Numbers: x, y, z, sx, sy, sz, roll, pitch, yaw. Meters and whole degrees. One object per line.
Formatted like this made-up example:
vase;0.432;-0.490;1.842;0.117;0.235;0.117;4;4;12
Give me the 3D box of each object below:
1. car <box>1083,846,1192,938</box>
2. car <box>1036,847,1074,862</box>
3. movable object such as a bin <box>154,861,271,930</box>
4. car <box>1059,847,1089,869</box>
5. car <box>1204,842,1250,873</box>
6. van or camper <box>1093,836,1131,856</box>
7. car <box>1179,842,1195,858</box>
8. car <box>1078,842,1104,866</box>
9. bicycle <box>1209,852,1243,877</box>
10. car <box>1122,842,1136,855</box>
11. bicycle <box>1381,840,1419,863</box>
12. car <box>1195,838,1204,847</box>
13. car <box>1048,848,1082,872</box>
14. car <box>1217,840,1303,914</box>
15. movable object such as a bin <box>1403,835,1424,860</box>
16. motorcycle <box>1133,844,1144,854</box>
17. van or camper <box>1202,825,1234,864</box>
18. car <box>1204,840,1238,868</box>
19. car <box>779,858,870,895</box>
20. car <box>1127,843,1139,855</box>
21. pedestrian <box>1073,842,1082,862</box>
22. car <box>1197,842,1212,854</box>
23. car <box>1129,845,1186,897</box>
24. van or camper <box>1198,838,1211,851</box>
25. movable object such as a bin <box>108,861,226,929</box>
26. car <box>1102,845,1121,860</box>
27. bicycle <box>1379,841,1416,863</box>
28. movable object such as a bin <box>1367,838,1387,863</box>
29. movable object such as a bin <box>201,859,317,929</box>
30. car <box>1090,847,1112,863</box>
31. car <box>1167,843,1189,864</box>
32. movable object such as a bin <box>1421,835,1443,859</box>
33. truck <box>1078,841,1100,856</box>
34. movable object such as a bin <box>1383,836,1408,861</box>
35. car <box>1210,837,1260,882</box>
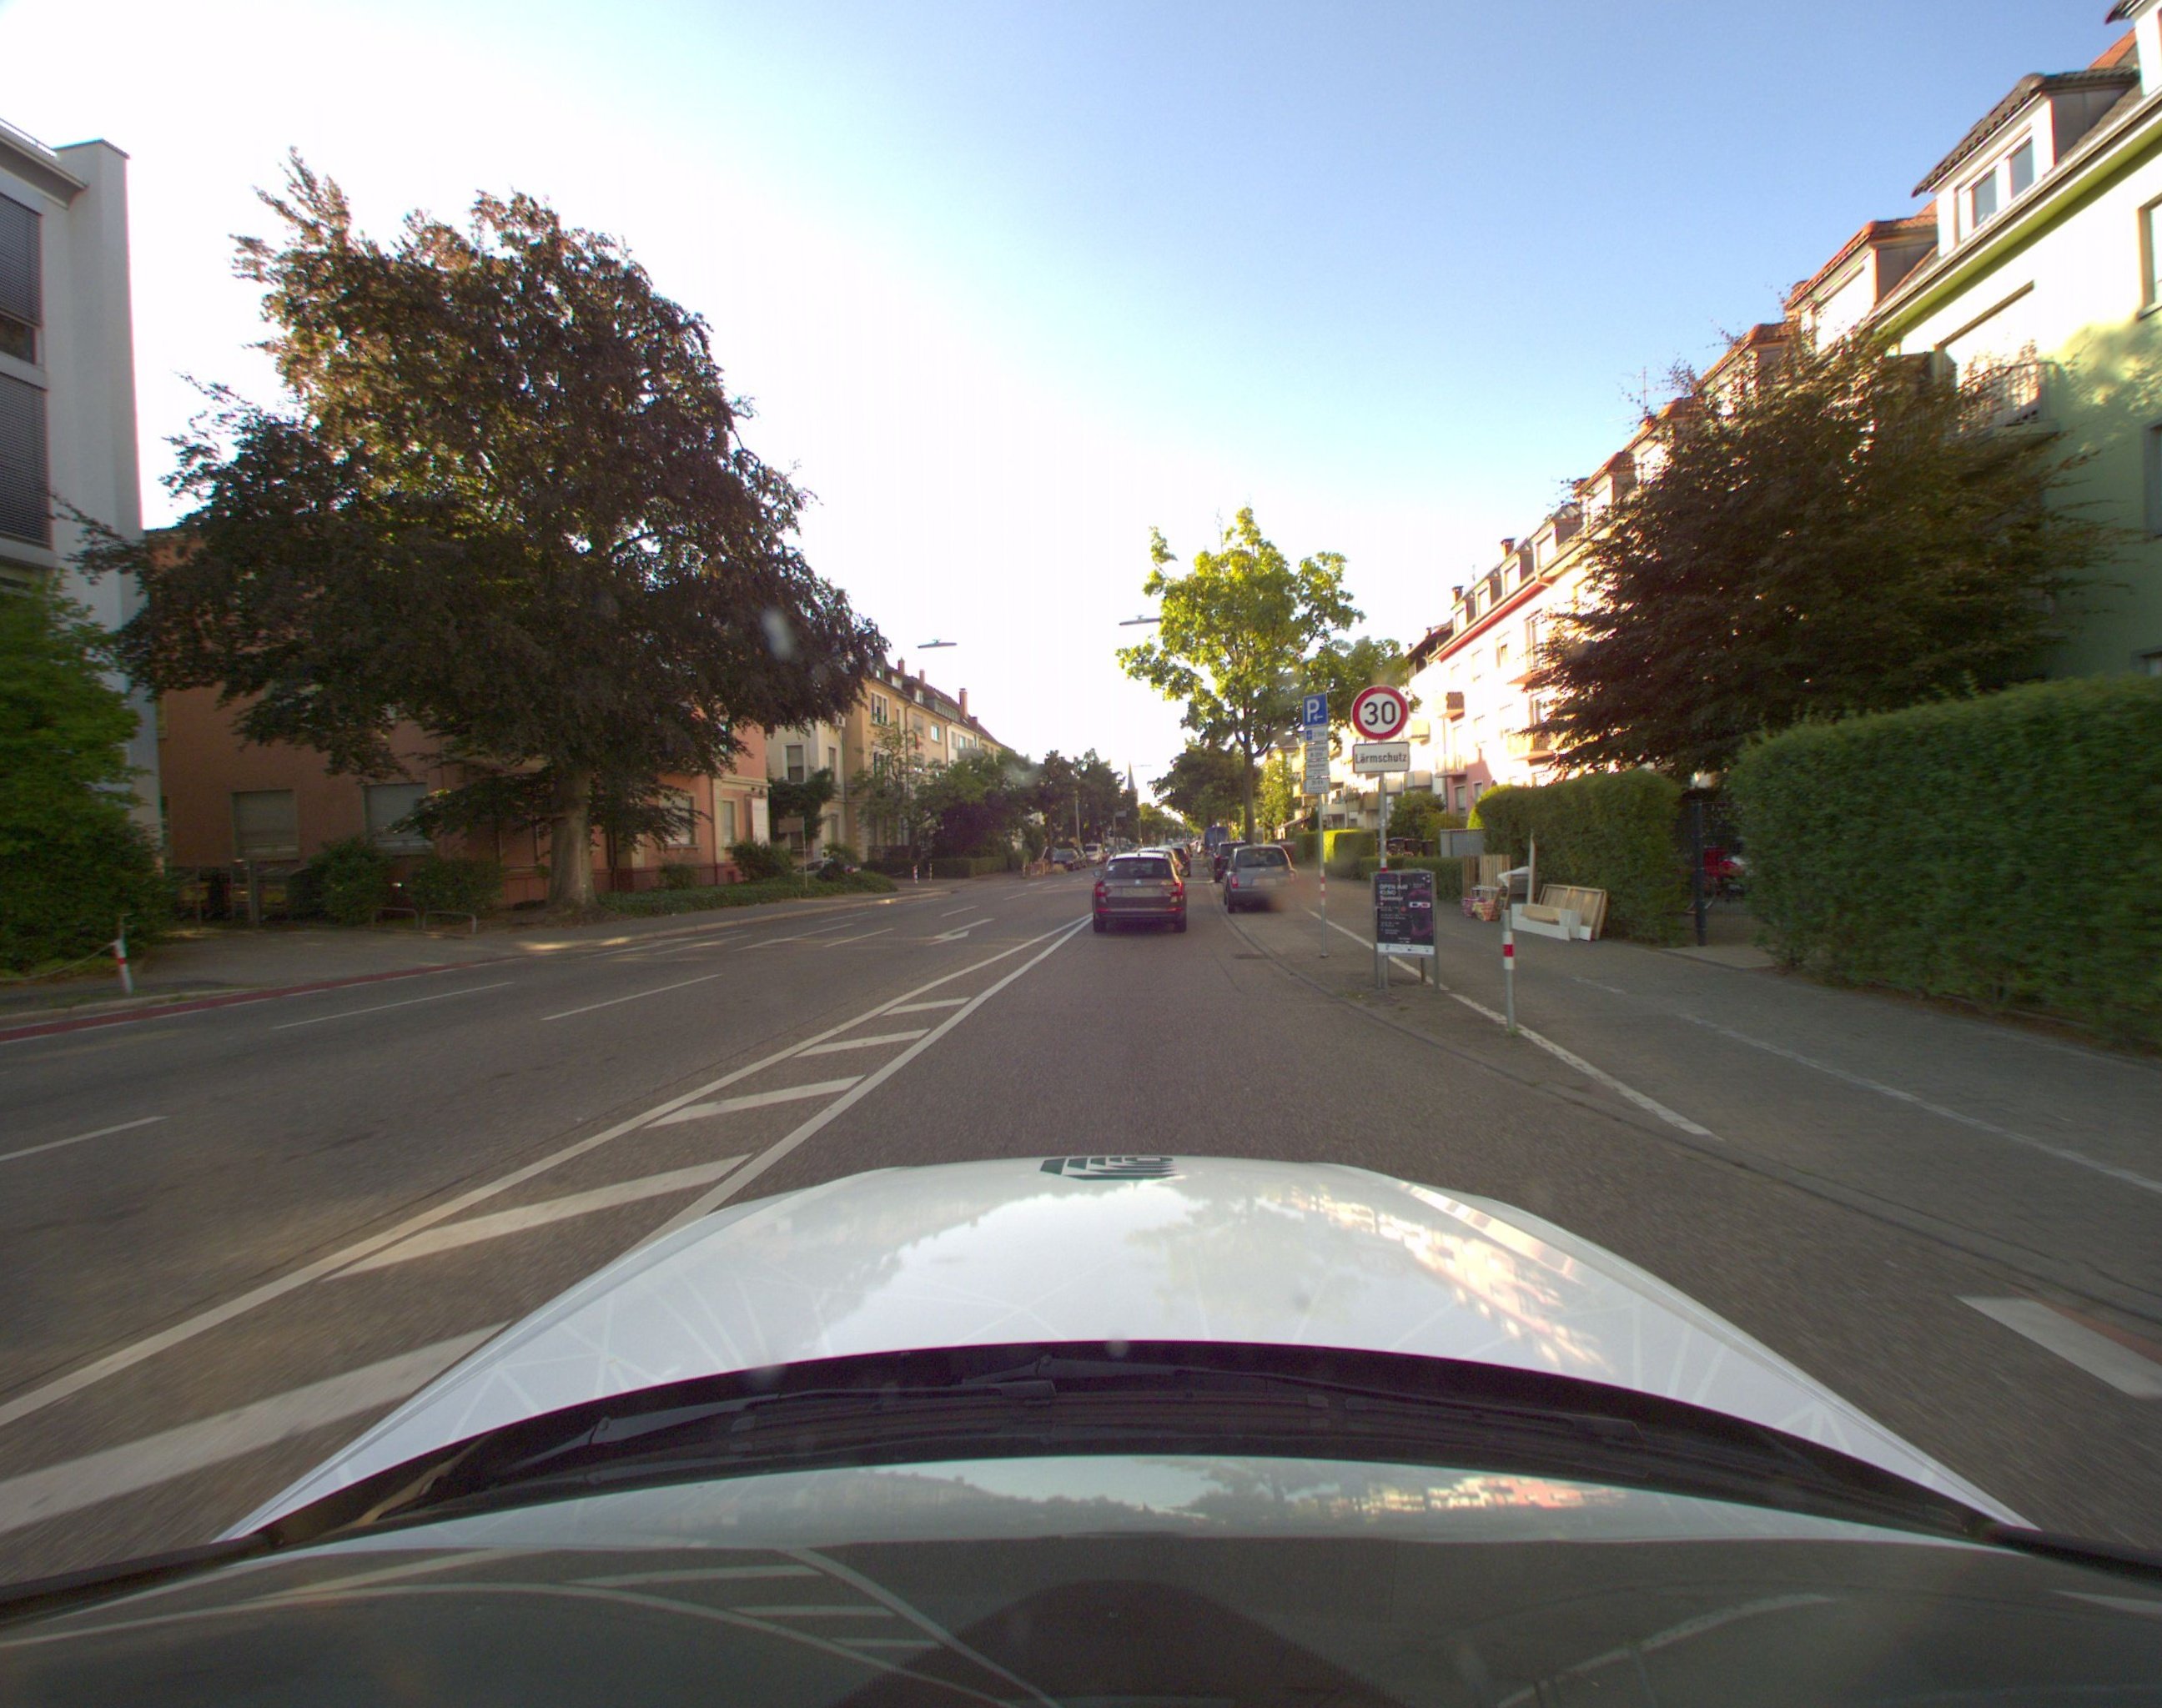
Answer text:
car;1.238;0.643;16.031;1.719;1.493;3.962;-2;1;9
car;-2.808;0.017;90.121;3.969;1.479;2.002;-1;1;4
movable object such as a bin;-22.715;1.069;21.336;1.493;1.651;1.461;-2;1;11
car;-0.502;0.296;62.820;1.740;1.502;3.988;-2;1;8
car;7.771;0.148;43.744;1.911;1.486;4.752;-2;1;4
van or camper;6.473;-1.629;168.569;7.602;3.874;2.003;-2;1;5
car;11.563;-0.420;88.696;1.723;1.651;3.550;-2;1;8
car;0.947;-0.018;73.145;1.760;1.919;4.470;-2;1;8
bicycle;6.690;0.488;37.607;1.474;1.059;0.411;-2;1;-6
car;6.871;-0.849;116.803;1.740;1.740;3.599;-2;1;8
bicycle;12.952;-0.099;33.110;1.362;0.853;0.369;-2;1;8
car;23.968;-2.296;164.897;1.720;1.815;3.958;-2;1;6
car;-1.095;0.412;57.900;1.740;1.502;4.206;-2;1;8
car;4.251;0.472;19.811;1.723;1.551;3.654;-2;1;8
movable object such as a bin;13.955;-0.273;34.220;0.608;1.002;0.798;-2;1;7
motorcycle;9.284;-0.805;131.593;0.770;1.511;2.008;-3;1;-35
van or camper;10.080;-0.702;60.244;2.056;2.675;6.003;-2;0;8
car;8.620;-0.015;50.335;1.764;1.642;3.764;-2;0;6
car;-11.660;0.995;37.146;3.482;1.486;1.818;-2;1;4
car;7.782;-0.776;121.403;1.498;1.757;3.702;-2;1;8
pedestrian;-0.347;-0.175;84.026;0.763;2.013;0.978;-2;1;7
car;16.006;-0.845;105.617;1.810;1.413;4.123;-2;1;10
car;2.503;0.500;27.089;1.722;1.493;3.955;-2;1;4
van or camper;19.590;-1.506;129.301;1.982;2.013;4.009;-2;1;8
movable object such as a bin;-24.302;1.068;21.698;1.493;1.651;1.461;-2;1;11
car;3.481;-0.213;92.311;1.707;1.497;4.257;-2;1;8
bicycle;13.026;-0.070;33.561;1.352;0.853;0.366;-2;1;7
movable object such as a bin;12.459;-0.163;34.316;0.579;1.002;0.798;-2;1;7
movable object such as a bin;-21.178;1.012;21.026;1.493;1.651;1.461;-2;1;11
car;1.985;0.088;80.474;1.707;1.421;3.795;-2;1;8
car;8.495;-0.048;71.206;1.723;1.651;3.550;-2;1;8
movable object such as a bin;14.711;-0.303;34.146;0.608;1.002;0.798;-2;1;7
truck;1.170;-0.798;118.990;2.898;2.093;1.549;-2;1;7
movable object such as a bin;13.237;-0.245;34.299;0.772;1.002;0.798;-2;1;7
car;6.252;0.182;33.441;1.723;1.651;4.301;-2;1;8
